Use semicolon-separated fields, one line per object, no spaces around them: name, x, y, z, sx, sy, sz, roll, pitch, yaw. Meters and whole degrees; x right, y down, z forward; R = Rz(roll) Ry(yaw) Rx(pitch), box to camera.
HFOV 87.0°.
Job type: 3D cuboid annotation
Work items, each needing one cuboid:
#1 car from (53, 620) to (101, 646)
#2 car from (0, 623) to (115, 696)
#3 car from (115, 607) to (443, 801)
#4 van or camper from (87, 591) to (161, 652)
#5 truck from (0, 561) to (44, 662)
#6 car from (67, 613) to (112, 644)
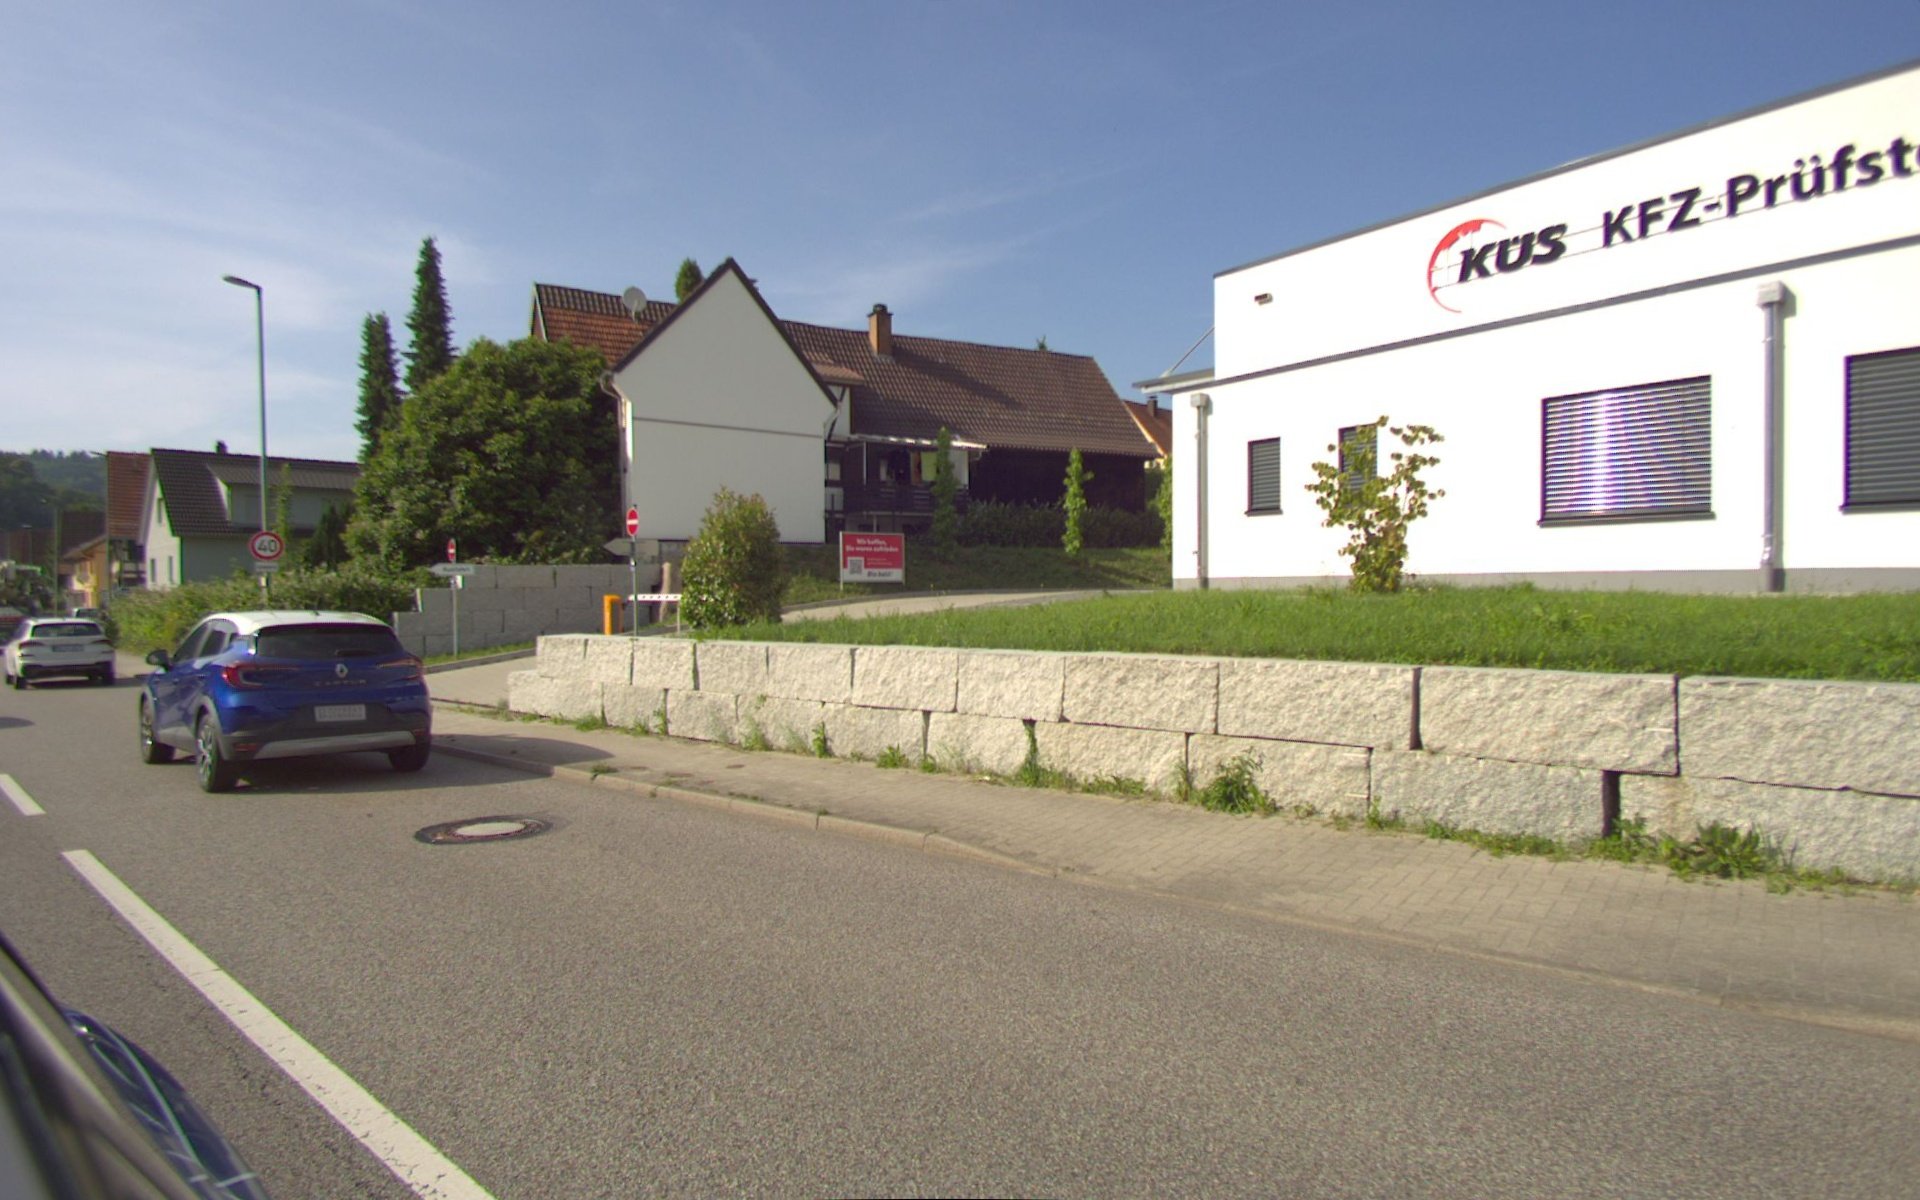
car;-54.303;2.003;62.204;4.094;1.530;1.863;-1;-1;43
car;-20.858;1.297;23.231;4.190;1.515;1.730;-2;-1;43
car;-6.841;0.884;10.016;3.998;1.538;1.726;-2;-2;41
van or camper;-38.431;0.969;46.461;2.123;2.574;5.905;-2;0;-44
truck;-41.518;0.535;43.655;2.548;3.961;11.313;0;0;-44
car;-51.715;1.649;60.080;1.878;1.677;4.272;-3;1;-42
